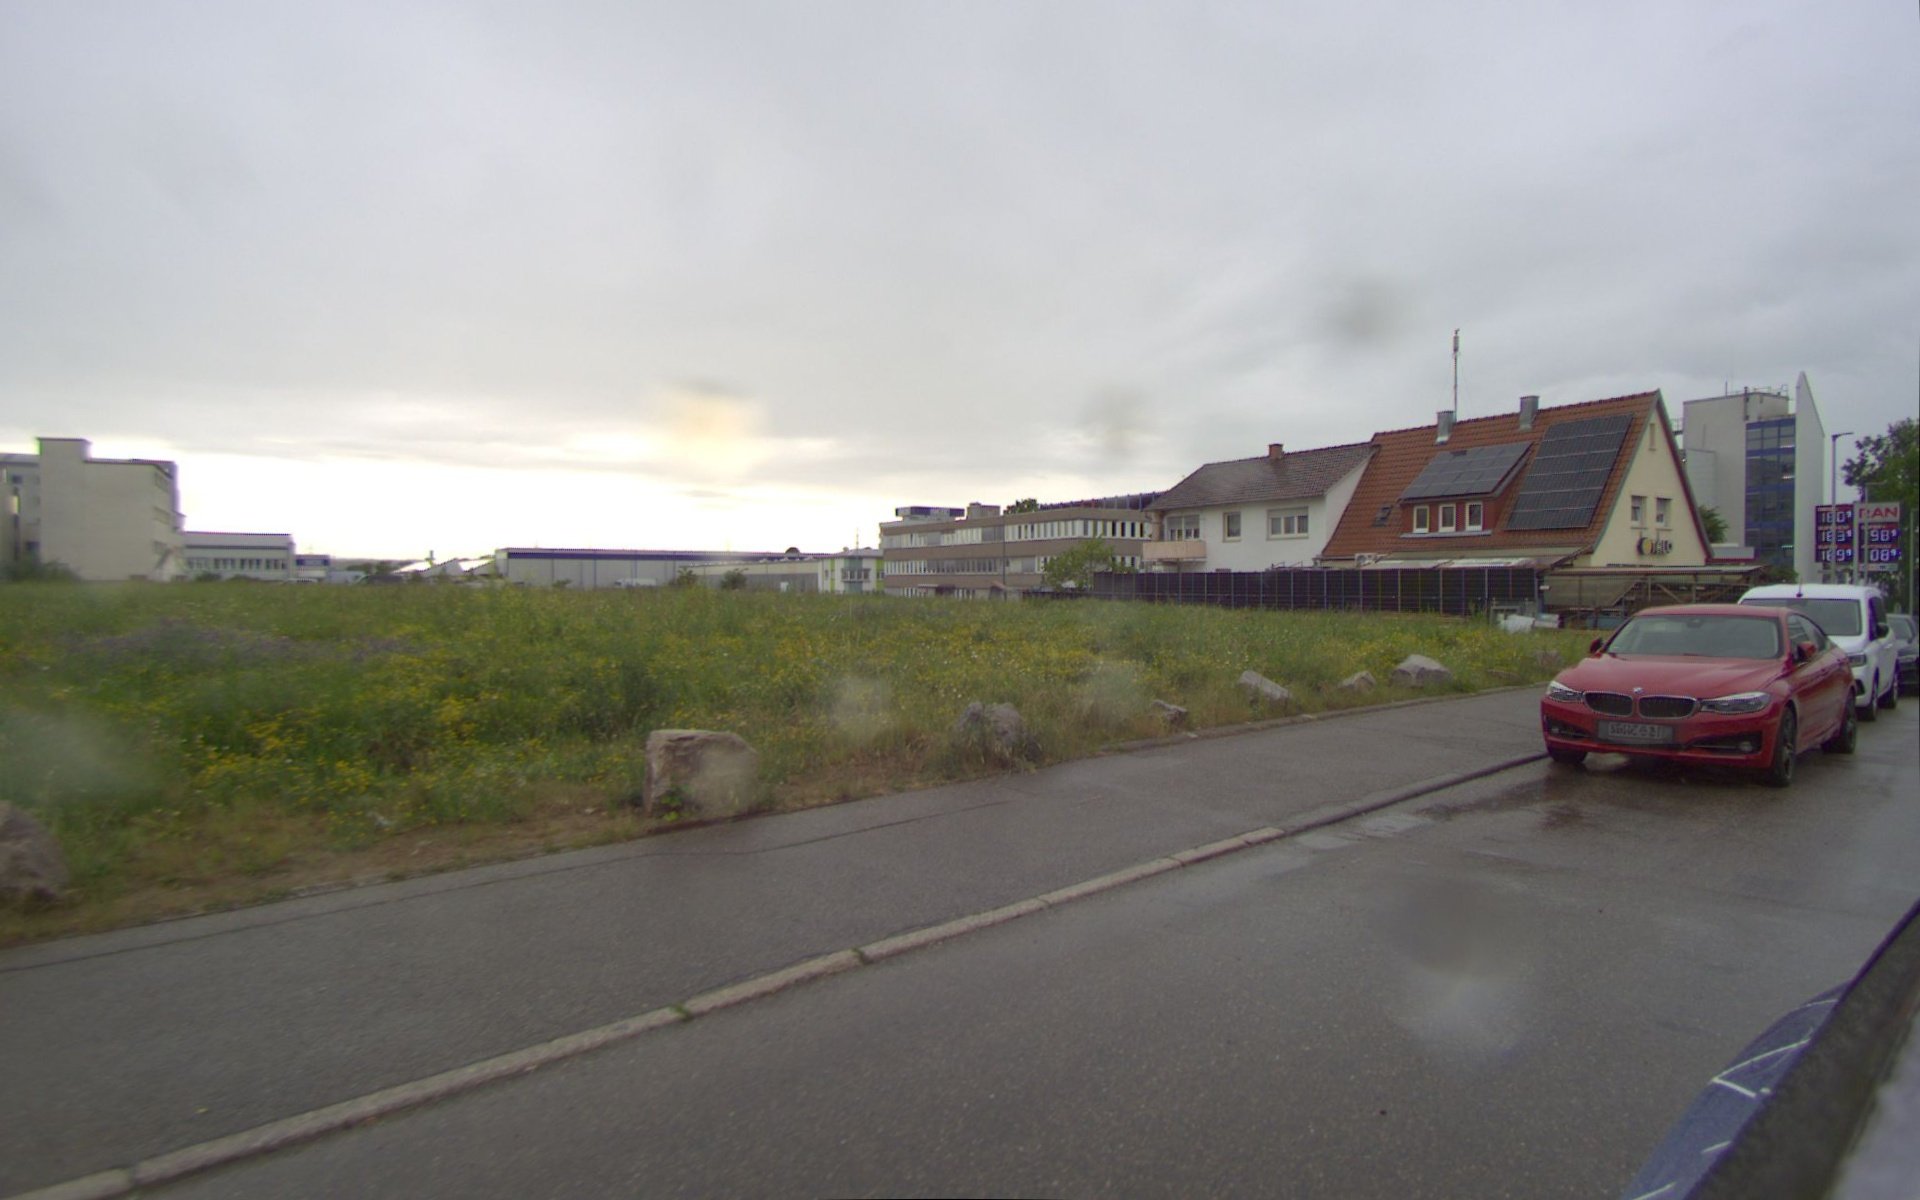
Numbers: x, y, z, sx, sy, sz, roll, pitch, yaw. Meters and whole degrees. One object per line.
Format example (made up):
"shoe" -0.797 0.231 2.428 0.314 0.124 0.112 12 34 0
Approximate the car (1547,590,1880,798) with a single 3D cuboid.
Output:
"car" 7.514 0.734 9.904 4.561 1.595 1.645 0 -1 -41

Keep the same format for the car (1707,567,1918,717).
"car" 12.438 0.527 14.654 4.496 1.848 1.771 0 -1 -42

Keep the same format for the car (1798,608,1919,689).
"car" 17.210 0.827 18.945 4.247 1.353 1.771 0 -1 -42
